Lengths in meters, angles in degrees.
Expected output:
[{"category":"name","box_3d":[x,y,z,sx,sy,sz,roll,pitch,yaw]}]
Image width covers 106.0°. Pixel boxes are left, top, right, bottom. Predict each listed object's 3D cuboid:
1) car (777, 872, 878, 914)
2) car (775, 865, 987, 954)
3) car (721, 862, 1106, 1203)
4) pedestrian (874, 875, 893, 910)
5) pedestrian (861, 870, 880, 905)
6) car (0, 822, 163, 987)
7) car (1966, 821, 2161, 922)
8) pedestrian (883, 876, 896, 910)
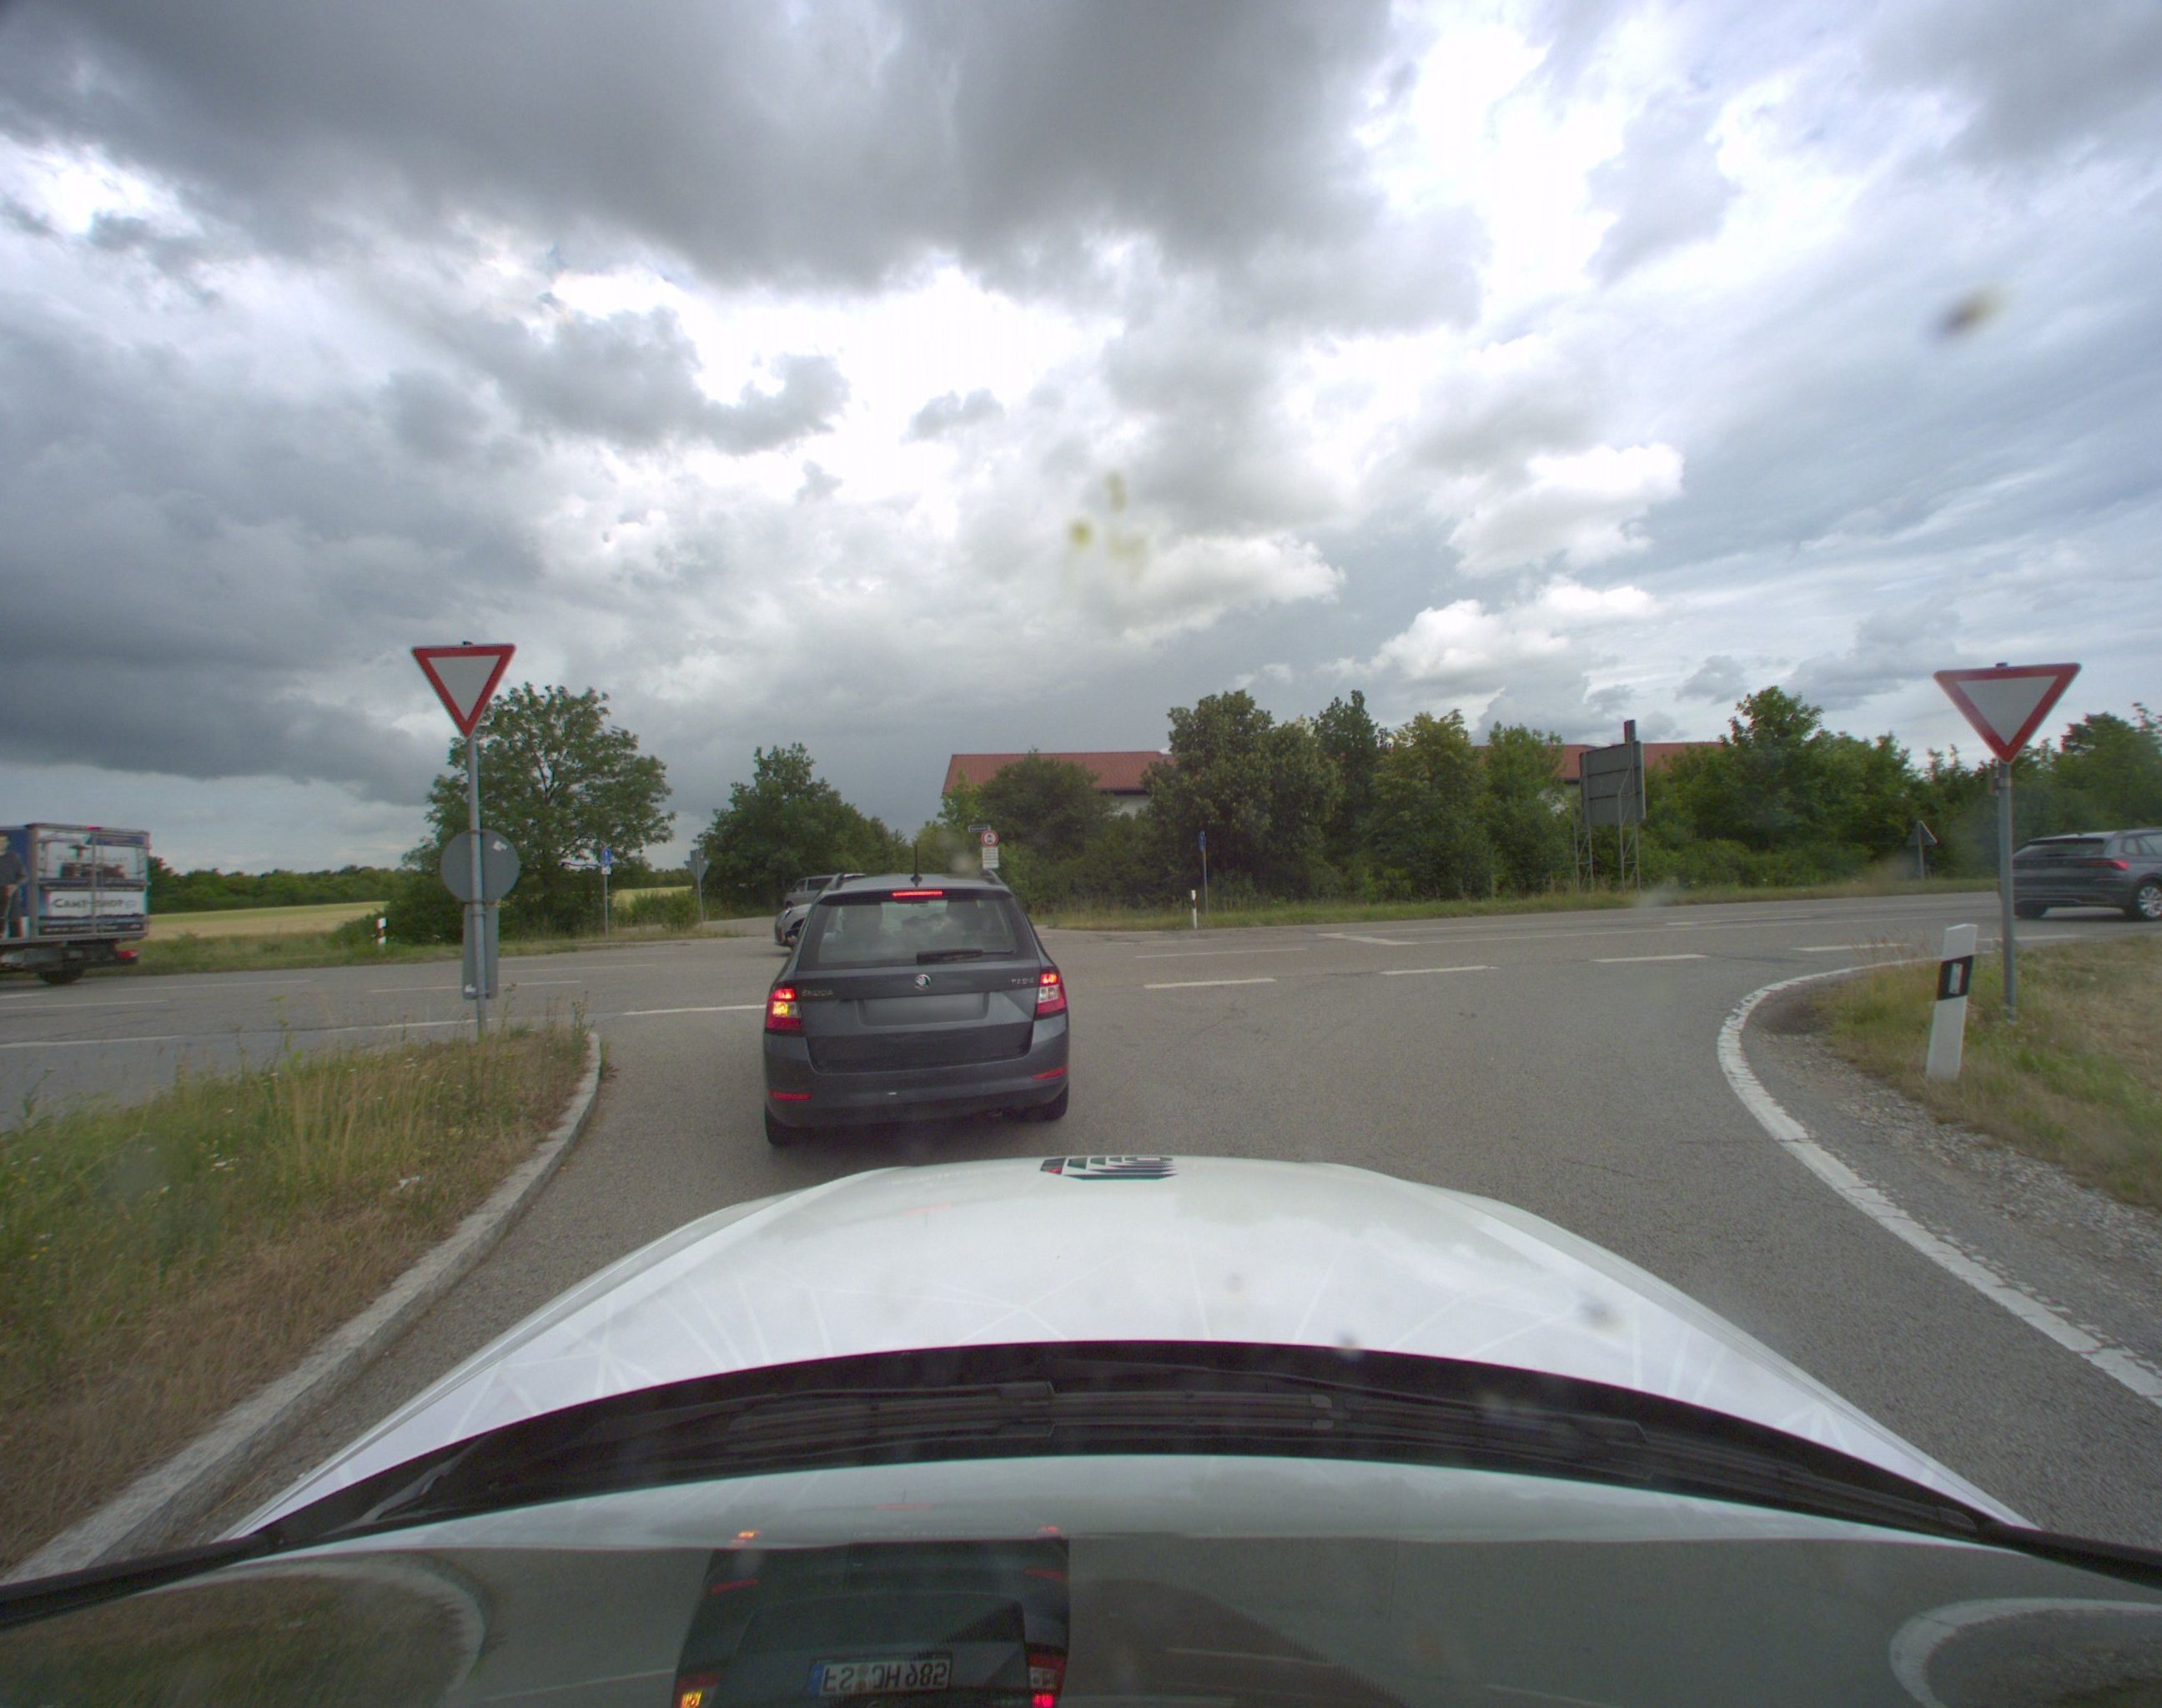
[{"category":"car","box_3d":[-12.827,1.980,41.100,5.034,1.886,2.127,-4,-1,34]},{"category":"car","box_3d":[-4.238,1.188,17.865,4.245,1.624,1.994,-3,-3,-8]},{"category":"car","box_3d":[-1.176,0.816,5.754,1.715,1.447,4.098,-1,-1,-13]},{"category":"pedestrian","box_3d":[-9.863,1.911,40.636,0.722,1.723,0.791,-2,-1,-3]},{"category":"pedestrian","box_3d":[-10.648,1.670,41.214,0.698,1.723,0.733,-2,-1,1]},{"category":"car","box_3d":[-22.824,1.136,15.895,6.530,3.030,2.335,-3,-3,-7]},{"category":"car","box_3d":[18.433,0.240,14.276,3.980,1.566,1.861,-3,-1,-5]},{"category":"pedestrian","box_3d":[-9.917,2.018,42.162,0.488,1.746,0.642,-2,-1,-3]}]
